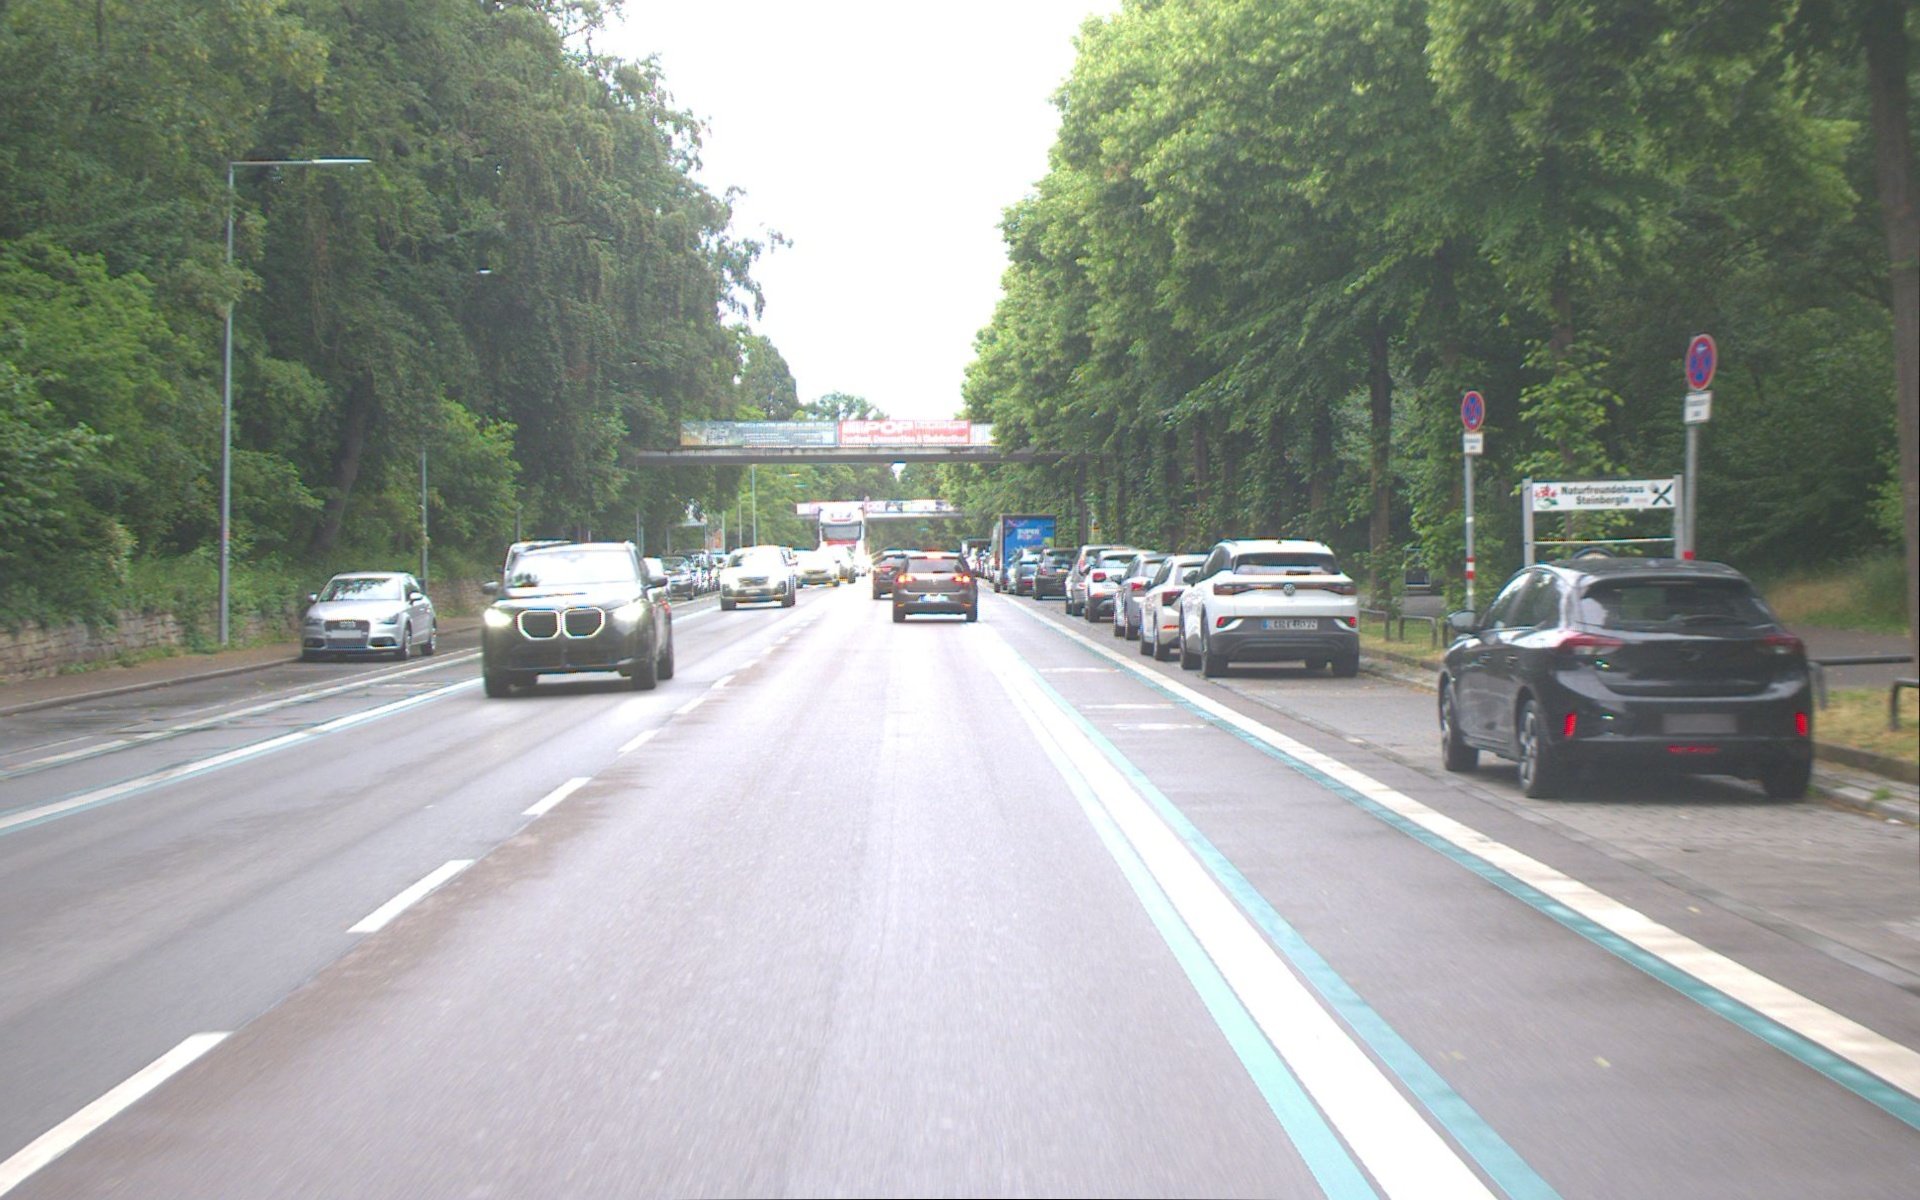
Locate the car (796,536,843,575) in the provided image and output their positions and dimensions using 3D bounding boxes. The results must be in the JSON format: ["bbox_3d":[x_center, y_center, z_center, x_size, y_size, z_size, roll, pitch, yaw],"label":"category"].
[{"bbox_3d":[-5.607,-1.800,137.713,1.775,1.461,4.063,-3,1,-2],"label":"car"}]

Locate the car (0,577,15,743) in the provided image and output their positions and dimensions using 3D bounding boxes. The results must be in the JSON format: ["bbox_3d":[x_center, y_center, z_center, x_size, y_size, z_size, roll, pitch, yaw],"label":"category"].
[{"bbox_3d":[-9.135,0.578,28.098,1.754,1.430,4.357,-1,1,-2],"label":"car"}]

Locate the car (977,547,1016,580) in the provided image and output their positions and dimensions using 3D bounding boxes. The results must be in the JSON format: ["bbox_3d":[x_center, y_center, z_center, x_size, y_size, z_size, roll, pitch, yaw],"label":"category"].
[{"bbox_3d":[1.774,-1.808,168.241,1.756,1.584,4.499,1,1,-1],"label":"car"}]

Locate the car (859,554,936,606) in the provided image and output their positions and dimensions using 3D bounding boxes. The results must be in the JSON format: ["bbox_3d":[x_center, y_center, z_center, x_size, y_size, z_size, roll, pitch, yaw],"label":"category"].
[{"bbox_3d":[-1.904,-0.625,103.280,2.140,1.487,4.499,1,1,-3],"label":"car"}]

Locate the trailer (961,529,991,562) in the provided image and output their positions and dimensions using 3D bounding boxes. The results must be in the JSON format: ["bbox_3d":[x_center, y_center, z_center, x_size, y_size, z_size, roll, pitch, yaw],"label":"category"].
[{"bbox_3d":[1.075,-3.647,230.003,1.884,2.158,3.808,-1,1,0],"label":"trailer"}]

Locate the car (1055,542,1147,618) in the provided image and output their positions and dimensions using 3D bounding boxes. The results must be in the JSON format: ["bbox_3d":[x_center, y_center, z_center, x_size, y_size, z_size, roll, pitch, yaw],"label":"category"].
[{"bbox_3d":[2.915,-0.441,71.861,1.698,1.508,4.469,1,1,0],"label":"car"}]

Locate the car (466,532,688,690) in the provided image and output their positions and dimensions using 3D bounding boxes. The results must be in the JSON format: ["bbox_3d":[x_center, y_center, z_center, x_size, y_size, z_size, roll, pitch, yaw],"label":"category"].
[{"bbox_3d":[-4.295,0.076,39.220,2.038,1.643,4.477,-1,1,0],"label":"car"}]

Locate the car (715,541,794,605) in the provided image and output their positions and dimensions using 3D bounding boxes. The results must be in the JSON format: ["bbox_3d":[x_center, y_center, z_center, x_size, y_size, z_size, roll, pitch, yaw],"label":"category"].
[{"bbox_3d":[-5.523,-0.742,92.778,1.953,1.633,4.445,-1,1,-2],"label":"car"}]

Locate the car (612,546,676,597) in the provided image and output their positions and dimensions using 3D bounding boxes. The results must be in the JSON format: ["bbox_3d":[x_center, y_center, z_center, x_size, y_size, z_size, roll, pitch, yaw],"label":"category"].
[{"bbox_3d":[-9.791,-0.892,106.787,1.789,1.477,3.983,-1,1,-3],"label":"car"}]

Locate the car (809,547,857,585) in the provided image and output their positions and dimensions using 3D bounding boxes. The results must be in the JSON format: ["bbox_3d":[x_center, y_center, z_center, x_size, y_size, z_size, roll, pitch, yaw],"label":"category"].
[{"bbox_3d":[-5.606,-1.504,152.004,1.961,1.611,4.466,-1,1,-1],"label":"car"}]

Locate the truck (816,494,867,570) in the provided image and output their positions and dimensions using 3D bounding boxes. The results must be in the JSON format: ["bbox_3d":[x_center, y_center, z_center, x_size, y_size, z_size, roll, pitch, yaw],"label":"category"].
[{"bbox_3d":[-6.602,-3.763,191.237,2.517,4.032,4.917,-3,1,-3],"label":"truck"}]

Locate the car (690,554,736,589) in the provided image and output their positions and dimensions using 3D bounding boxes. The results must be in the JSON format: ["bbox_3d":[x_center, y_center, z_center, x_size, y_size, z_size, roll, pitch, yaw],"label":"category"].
[{"bbox_3d":[-10.759,-1.242,149.845,1.784,1.418,4.296,-1,1,-2],"label":"car"}]

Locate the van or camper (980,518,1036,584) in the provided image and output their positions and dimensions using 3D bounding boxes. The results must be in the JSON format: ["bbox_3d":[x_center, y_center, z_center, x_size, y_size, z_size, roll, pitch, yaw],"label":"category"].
[{"bbox_3d":[2.034,-2.107,147.126,2.042,2.720,6.901,1,1,-2],"label":"van or camper"}]

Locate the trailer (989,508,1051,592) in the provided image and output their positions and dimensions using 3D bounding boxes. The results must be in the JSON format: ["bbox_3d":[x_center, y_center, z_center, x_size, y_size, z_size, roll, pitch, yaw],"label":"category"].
[{"bbox_3d":[2.000,-1.691,116.134,1.952,2.749,4.007,0,1,-1],"label":"trailer"}]

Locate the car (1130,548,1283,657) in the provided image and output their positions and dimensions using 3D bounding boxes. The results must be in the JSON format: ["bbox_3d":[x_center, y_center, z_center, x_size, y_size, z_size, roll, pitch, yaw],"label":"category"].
[{"bbox_3d":[3.409,0.002,48.225,1.698,1.448,3.947,1,1,-2],"label":"car"}]

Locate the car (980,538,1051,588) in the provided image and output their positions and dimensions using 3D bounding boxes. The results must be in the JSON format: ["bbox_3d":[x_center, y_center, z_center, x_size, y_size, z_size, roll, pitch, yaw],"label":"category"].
[{"bbox_3d":[1.751,-1.200,110.328,1.899,1.542,4.756,1,1,-3],"label":"car"}]

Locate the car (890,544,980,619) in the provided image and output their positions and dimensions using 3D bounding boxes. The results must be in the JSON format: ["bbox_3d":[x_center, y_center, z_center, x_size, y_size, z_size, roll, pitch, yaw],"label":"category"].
[{"bbox_3d":[-0.505,-0.407,72.023,1.818,1.503,4.139,0,1,0],"label":"car"}]

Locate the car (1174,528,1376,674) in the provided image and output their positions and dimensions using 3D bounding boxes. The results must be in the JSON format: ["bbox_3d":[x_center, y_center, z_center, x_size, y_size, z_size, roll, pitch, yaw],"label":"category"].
[{"bbox_3d":[3.780,-0.034,42.021,1.993,1.656,4.563,-1,1,0],"label":"car"}]

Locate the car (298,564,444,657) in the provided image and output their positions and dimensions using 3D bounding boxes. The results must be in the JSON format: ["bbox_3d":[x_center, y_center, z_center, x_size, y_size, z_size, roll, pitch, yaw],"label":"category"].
[{"bbox_3d":[-9.586,0.146,56.174,1.690,1.400,4.028,0,1,0],"label":"car"}]

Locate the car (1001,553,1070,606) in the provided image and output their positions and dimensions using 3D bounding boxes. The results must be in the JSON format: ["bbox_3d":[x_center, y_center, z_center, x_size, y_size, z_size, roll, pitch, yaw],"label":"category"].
[{"bbox_3d":[2.213,-0.619,101.472,1.825,1.498,4.571,0,1,-1],"label":"car"}]

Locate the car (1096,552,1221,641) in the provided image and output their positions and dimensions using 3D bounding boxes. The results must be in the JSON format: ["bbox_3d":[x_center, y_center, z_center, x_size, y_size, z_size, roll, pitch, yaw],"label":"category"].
[{"bbox_3d":[3.337,-0.086,58.429,1.698,1.448,4.098,1,1,-2],"label":"car"}]

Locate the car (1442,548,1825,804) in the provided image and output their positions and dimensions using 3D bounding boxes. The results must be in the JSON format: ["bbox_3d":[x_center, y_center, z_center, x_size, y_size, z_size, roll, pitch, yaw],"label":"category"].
[{"bbox_3d":[4.208,0.414,22.052,1.695,1.471,3.998,0,1,0],"label":"car"}]

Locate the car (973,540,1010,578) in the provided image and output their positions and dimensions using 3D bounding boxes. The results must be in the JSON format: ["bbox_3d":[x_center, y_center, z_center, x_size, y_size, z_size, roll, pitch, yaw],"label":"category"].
[{"bbox_3d":[1.691,-2.243,186.661,1.926,2.015,4.664,1,1,-1],"label":"car"}]

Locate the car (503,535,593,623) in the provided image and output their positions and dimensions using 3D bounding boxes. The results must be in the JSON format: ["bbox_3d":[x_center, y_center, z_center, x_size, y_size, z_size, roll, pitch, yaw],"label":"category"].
[{"bbox_3d":[-9.697,-0.523,81.181,1.973,1.998,5.019,0,1,-5],"label":"car"}]

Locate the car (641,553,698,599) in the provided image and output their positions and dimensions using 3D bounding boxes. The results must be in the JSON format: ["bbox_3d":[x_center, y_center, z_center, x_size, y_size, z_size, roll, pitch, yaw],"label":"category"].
[{"bbox_3d":[-9.899,-0.842,117.245,1.831,1.472,4.041,-1,1,-4],"label":"car"}]

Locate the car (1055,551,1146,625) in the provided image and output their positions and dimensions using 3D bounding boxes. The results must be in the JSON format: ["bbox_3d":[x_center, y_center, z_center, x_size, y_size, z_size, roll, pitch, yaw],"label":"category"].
[{"bbox_3d":[3.167,-0.296,78.015,1.753,1.591,4.740,0,1,-1],"label":"car"}]
